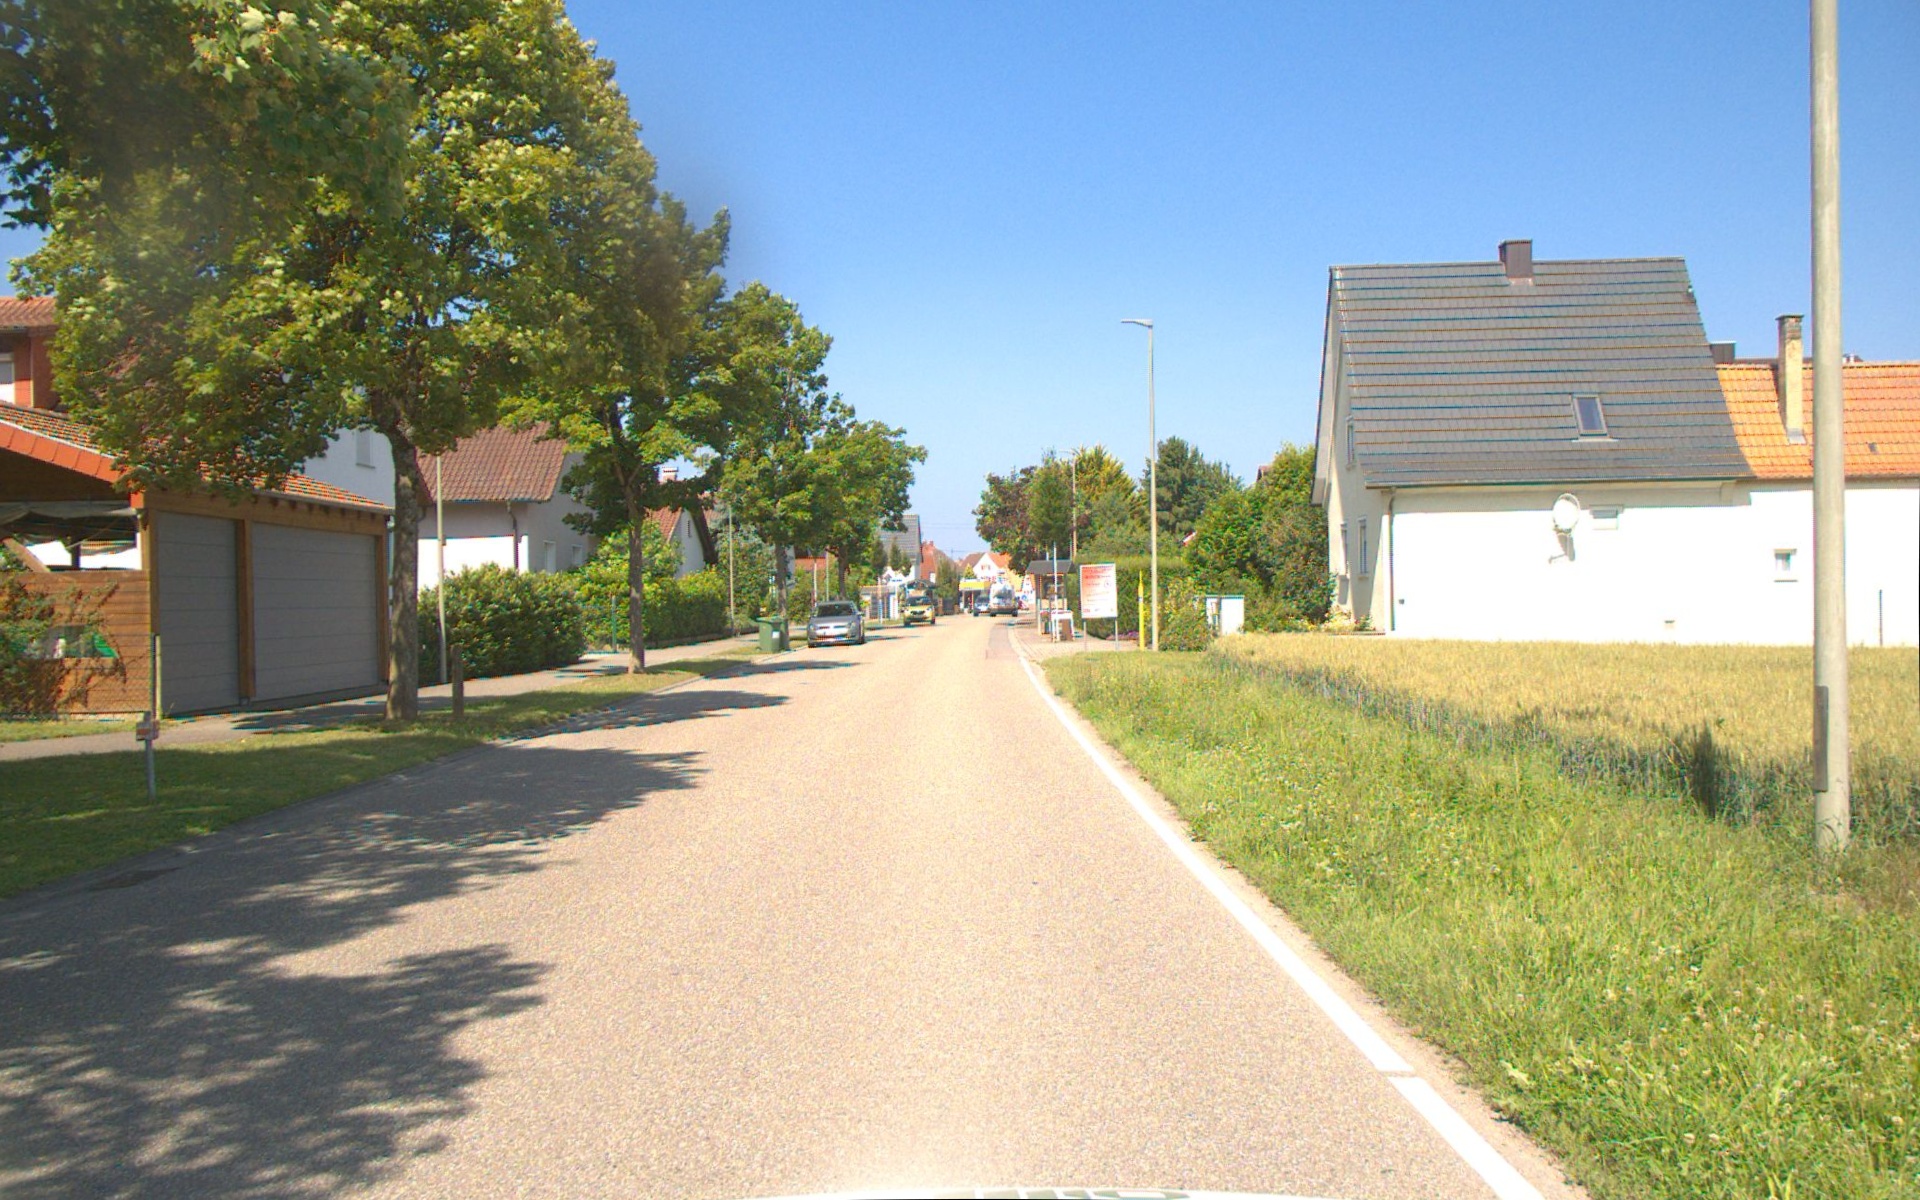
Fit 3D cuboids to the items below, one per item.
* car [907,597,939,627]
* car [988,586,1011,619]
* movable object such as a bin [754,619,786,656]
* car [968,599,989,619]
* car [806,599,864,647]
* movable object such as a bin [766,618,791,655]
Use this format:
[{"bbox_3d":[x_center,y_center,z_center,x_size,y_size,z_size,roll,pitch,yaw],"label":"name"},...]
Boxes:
[{"bbox_3d":[-2.060,0.669,91.096,1.632,1.550,3.441,-2,0,-2],"label":"car"},{"bbox_3d":[3.079,0.201,129.816,1.702,2.474,4.374,-1,0,1],"label":"car"},{"bbox_3d":[-5.694,1.123,49.561,0.699,1.097,0.639,-1,-1,26],"label":"movable object such as a bin"},{"bbox_3d":[1.696,0.862,153.540,1.798,1.783,3.795,-1,0,-1],"label":"car"},{"bbox_3d":[-4.132,0.738,54.988,1.614,1.448,4.079,-3,0,-1],"label":"car"},{"bbox_3d":[-5.506,1.096,50.223,0.562,1.097,0.599,-1,-1,14],"label":"movable object such as a bin"}]
